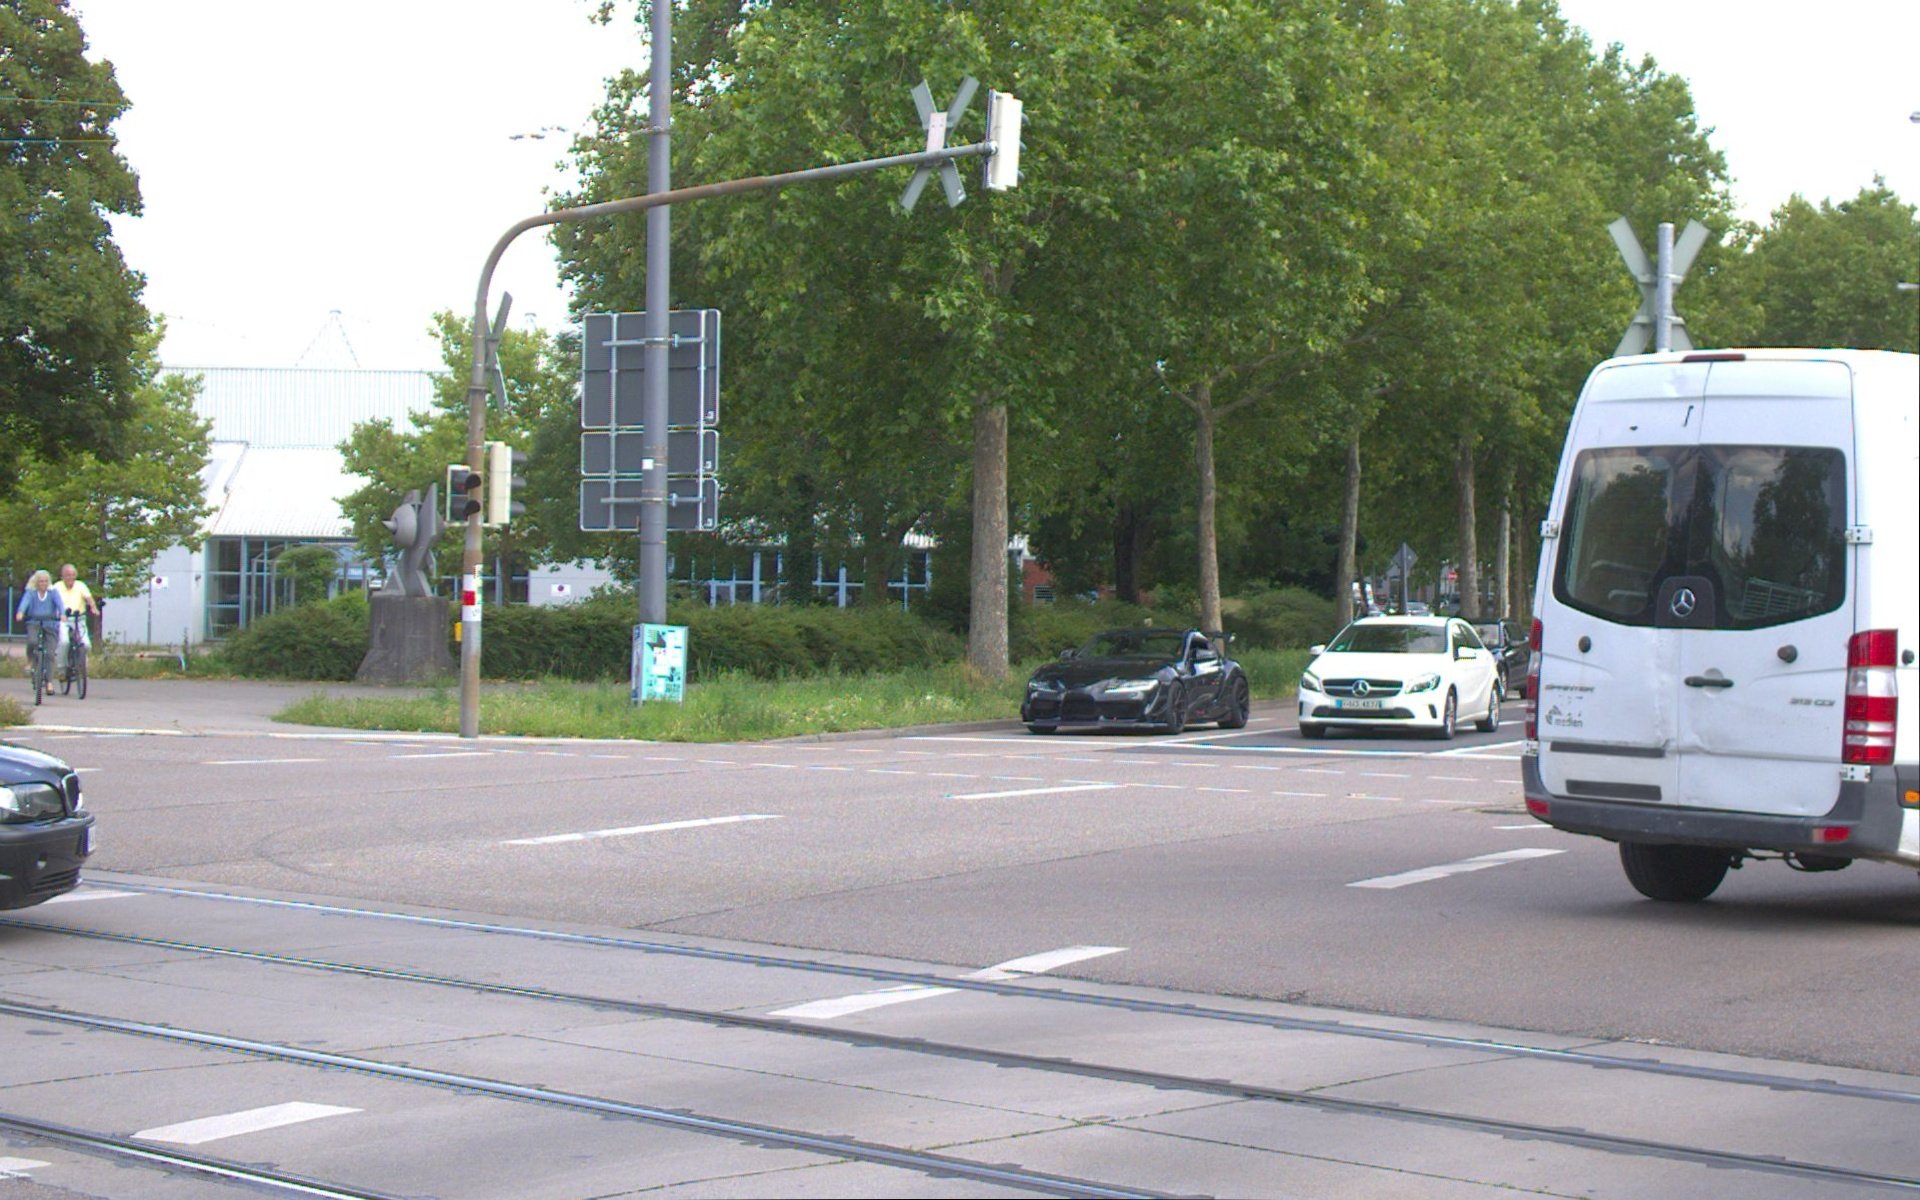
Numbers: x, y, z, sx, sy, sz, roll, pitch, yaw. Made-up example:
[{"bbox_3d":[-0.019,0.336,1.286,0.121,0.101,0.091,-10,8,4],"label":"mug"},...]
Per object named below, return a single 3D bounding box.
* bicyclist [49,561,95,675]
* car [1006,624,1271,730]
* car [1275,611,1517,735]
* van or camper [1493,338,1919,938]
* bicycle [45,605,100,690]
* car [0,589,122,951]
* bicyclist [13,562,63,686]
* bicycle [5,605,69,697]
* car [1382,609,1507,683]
[{"bbox_3d":[-12.222,0.247,47.331,0.485,1.548,0.556,2,-1,-8],"label":"bicyclist"},{"bbox_3d":[2.217,0.906,41.781,1.637,1.187,3.701,1,0,31],"label":"car"},{"bbox_3d":[5.262,0.831,41.055,1.827,1.360,4.133,1,0,22],"label":"car"},{"bbox_3d":[5.401,0.177,17.152,6.019,2.516,1.981,1,0,-41],"label":"van or camper"},{"bbox_3d":[-12.220,0.651,47.368,0.560,1.126,1.380,1,0,-8],"label":"bicycle"},{"bbox_3d":[-5.815,0.640,14.157,4.453,1.426,1.812,1,-1,-10],"label":"car"},{"bbox_3d":[-11.695,0.303,43.614,0.485,1.549,0.556,2,-1,-7],"label":"bicyclist"},{"bbox_3d":[-11.698,0.647,43.601,0.560,1.126,1.380,2,-1,-7],"label":"bicycle"},{"bbox_3d":[8.411,0.767,59.475,1.636,1.187,3.705,1,0,16],"label":"car"}]
